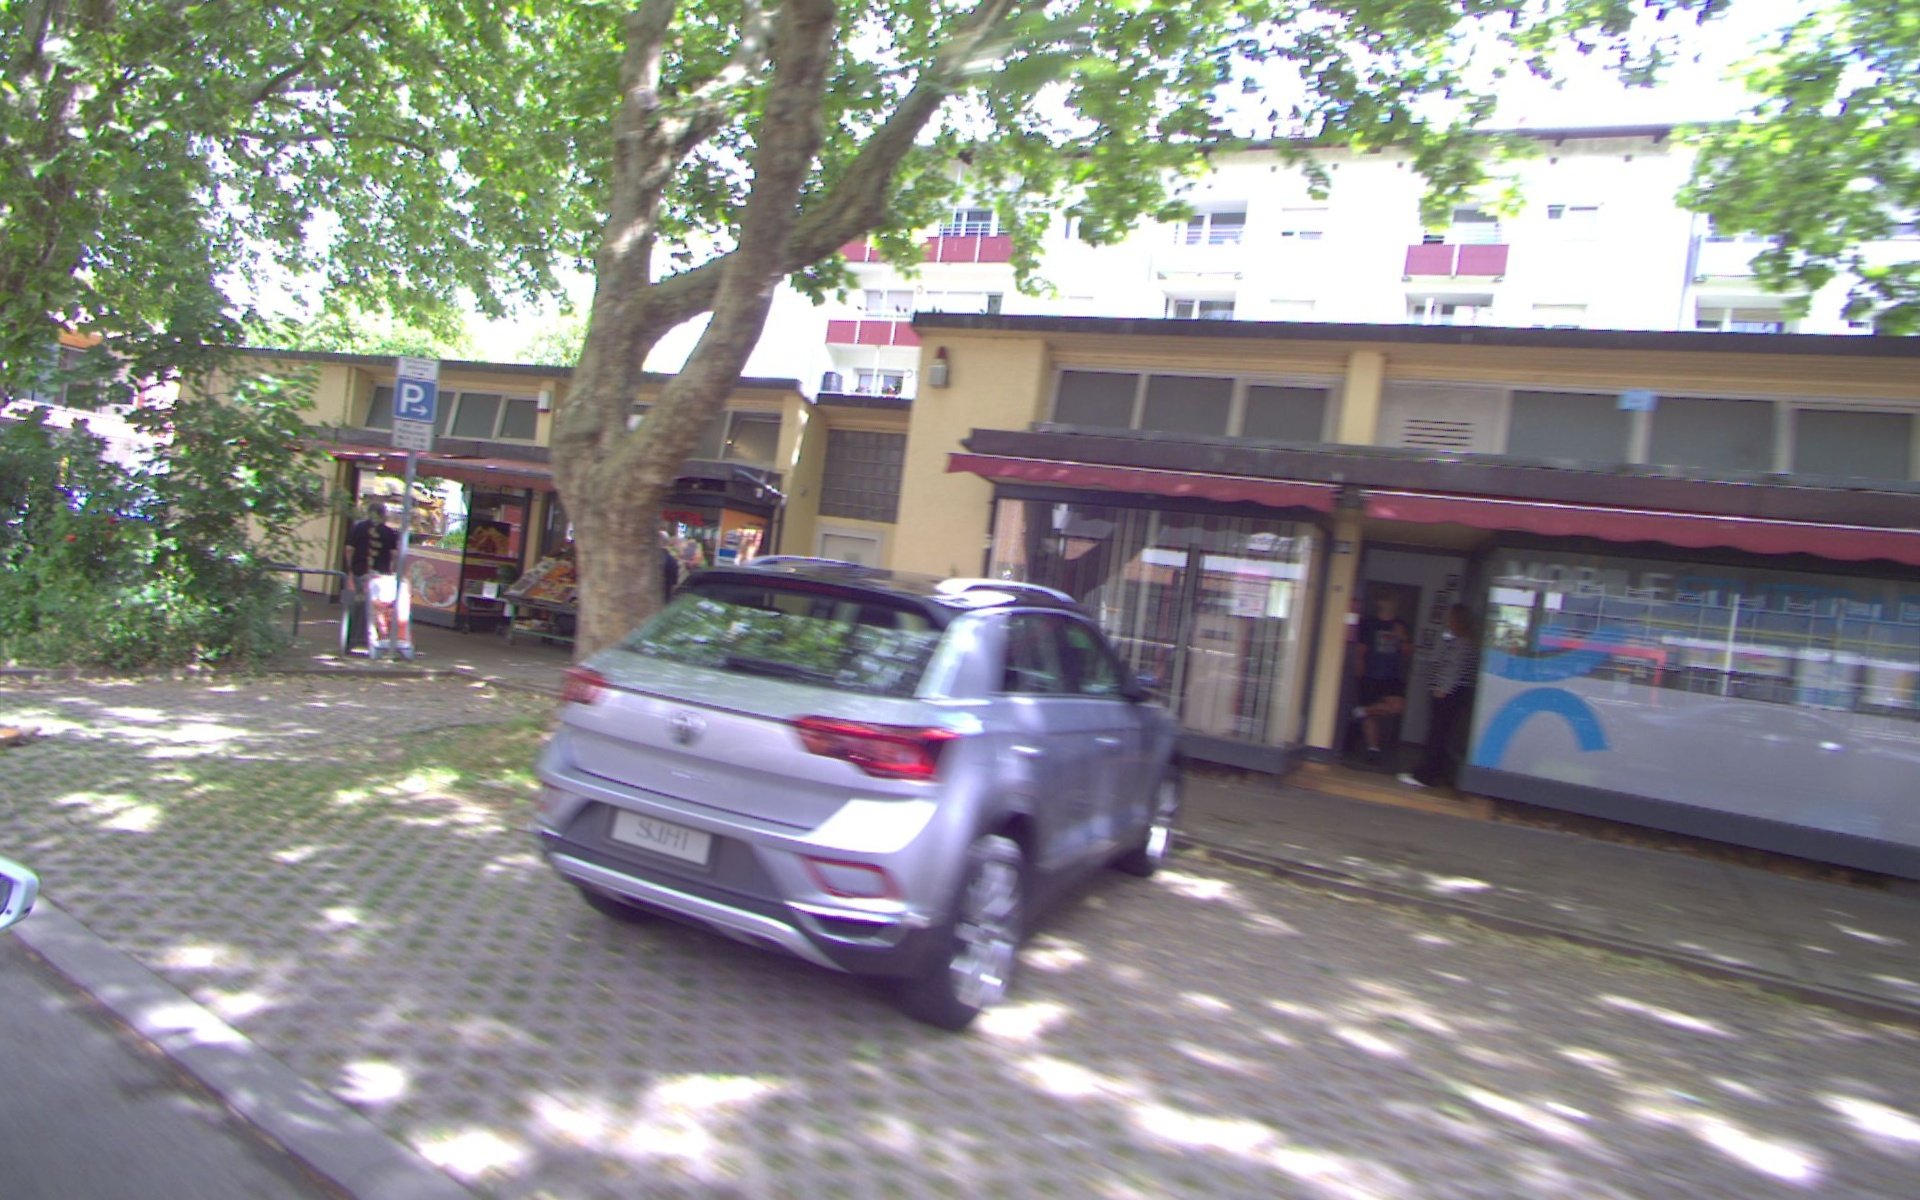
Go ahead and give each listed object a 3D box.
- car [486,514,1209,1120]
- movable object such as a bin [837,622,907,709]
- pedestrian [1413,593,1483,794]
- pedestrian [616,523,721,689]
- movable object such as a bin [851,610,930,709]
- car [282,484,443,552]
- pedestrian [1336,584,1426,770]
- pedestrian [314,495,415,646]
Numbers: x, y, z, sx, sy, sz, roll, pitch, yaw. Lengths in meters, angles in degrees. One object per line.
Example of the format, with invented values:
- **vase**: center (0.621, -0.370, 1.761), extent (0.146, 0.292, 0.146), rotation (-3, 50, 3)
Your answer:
- **car**: center (-0.048, 0.653, 4.856), extent (1.591, 1.582, 3.837), rotation (7, 1, 25)
- **movable object such as a bin**: center (-1.016, 0.750, 11.650), extent (0.577, 0.926, 0.438), rotation (7, 2, 22)
- **pedestrian**: center (4.390, 0.827, 9.071), extent (0.366, 1.726, 0.545), rotation (7, 2, 25)
- **pedestrian**: center (-3.267, 0.071, 11.307), extent (0.647, 1.747, 0.760), rotation (7, 2, 27)
- **movable object such as a bin**: center (-0.838, 0.710, 12.160), extent (0.696, 1.082, 0.520), rotation (7, 2, 21)
- **car**: center (-18.005, -2.421, 30.526), extent (1.498, 1.462, 3.996), rotation (8, 1, 23)
- **pedestrian**: center (4.263, 0.763, 10.198), extent (0.642, 1.780, 0.373), rotation (7, 1, 23)
- **pedestrian**: center (-7.120, -0.344, 12.035), extent (0.759, 1.697, 0.624), rotation (7, 1, 32)
